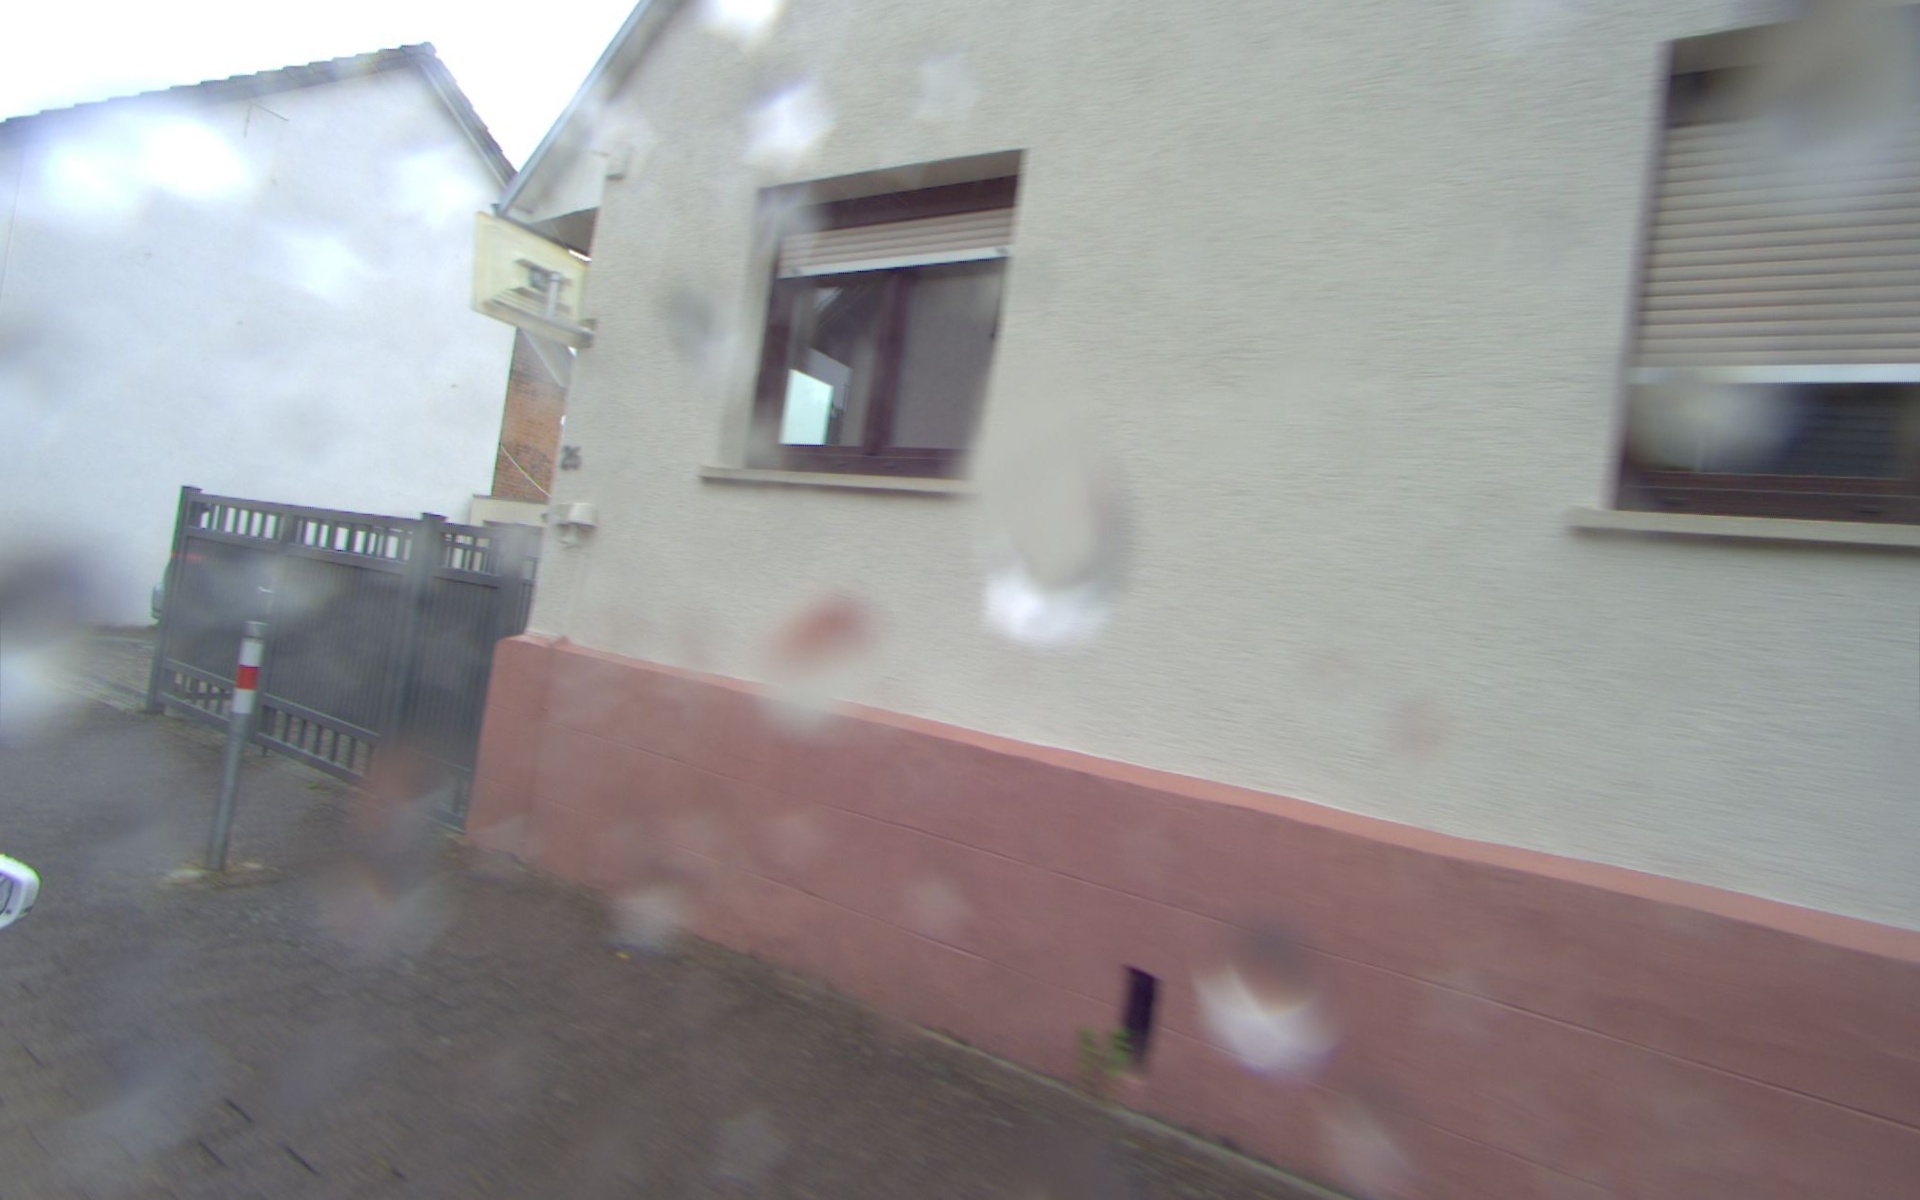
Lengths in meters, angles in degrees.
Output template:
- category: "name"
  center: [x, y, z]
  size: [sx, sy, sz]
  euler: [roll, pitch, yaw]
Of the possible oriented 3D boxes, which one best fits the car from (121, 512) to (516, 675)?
- category: "car"
  center: [-8.279, 0.012, 13.386]
  size: [1.820, 1.514, 3.909]
  euler: [7, -4, 28]
